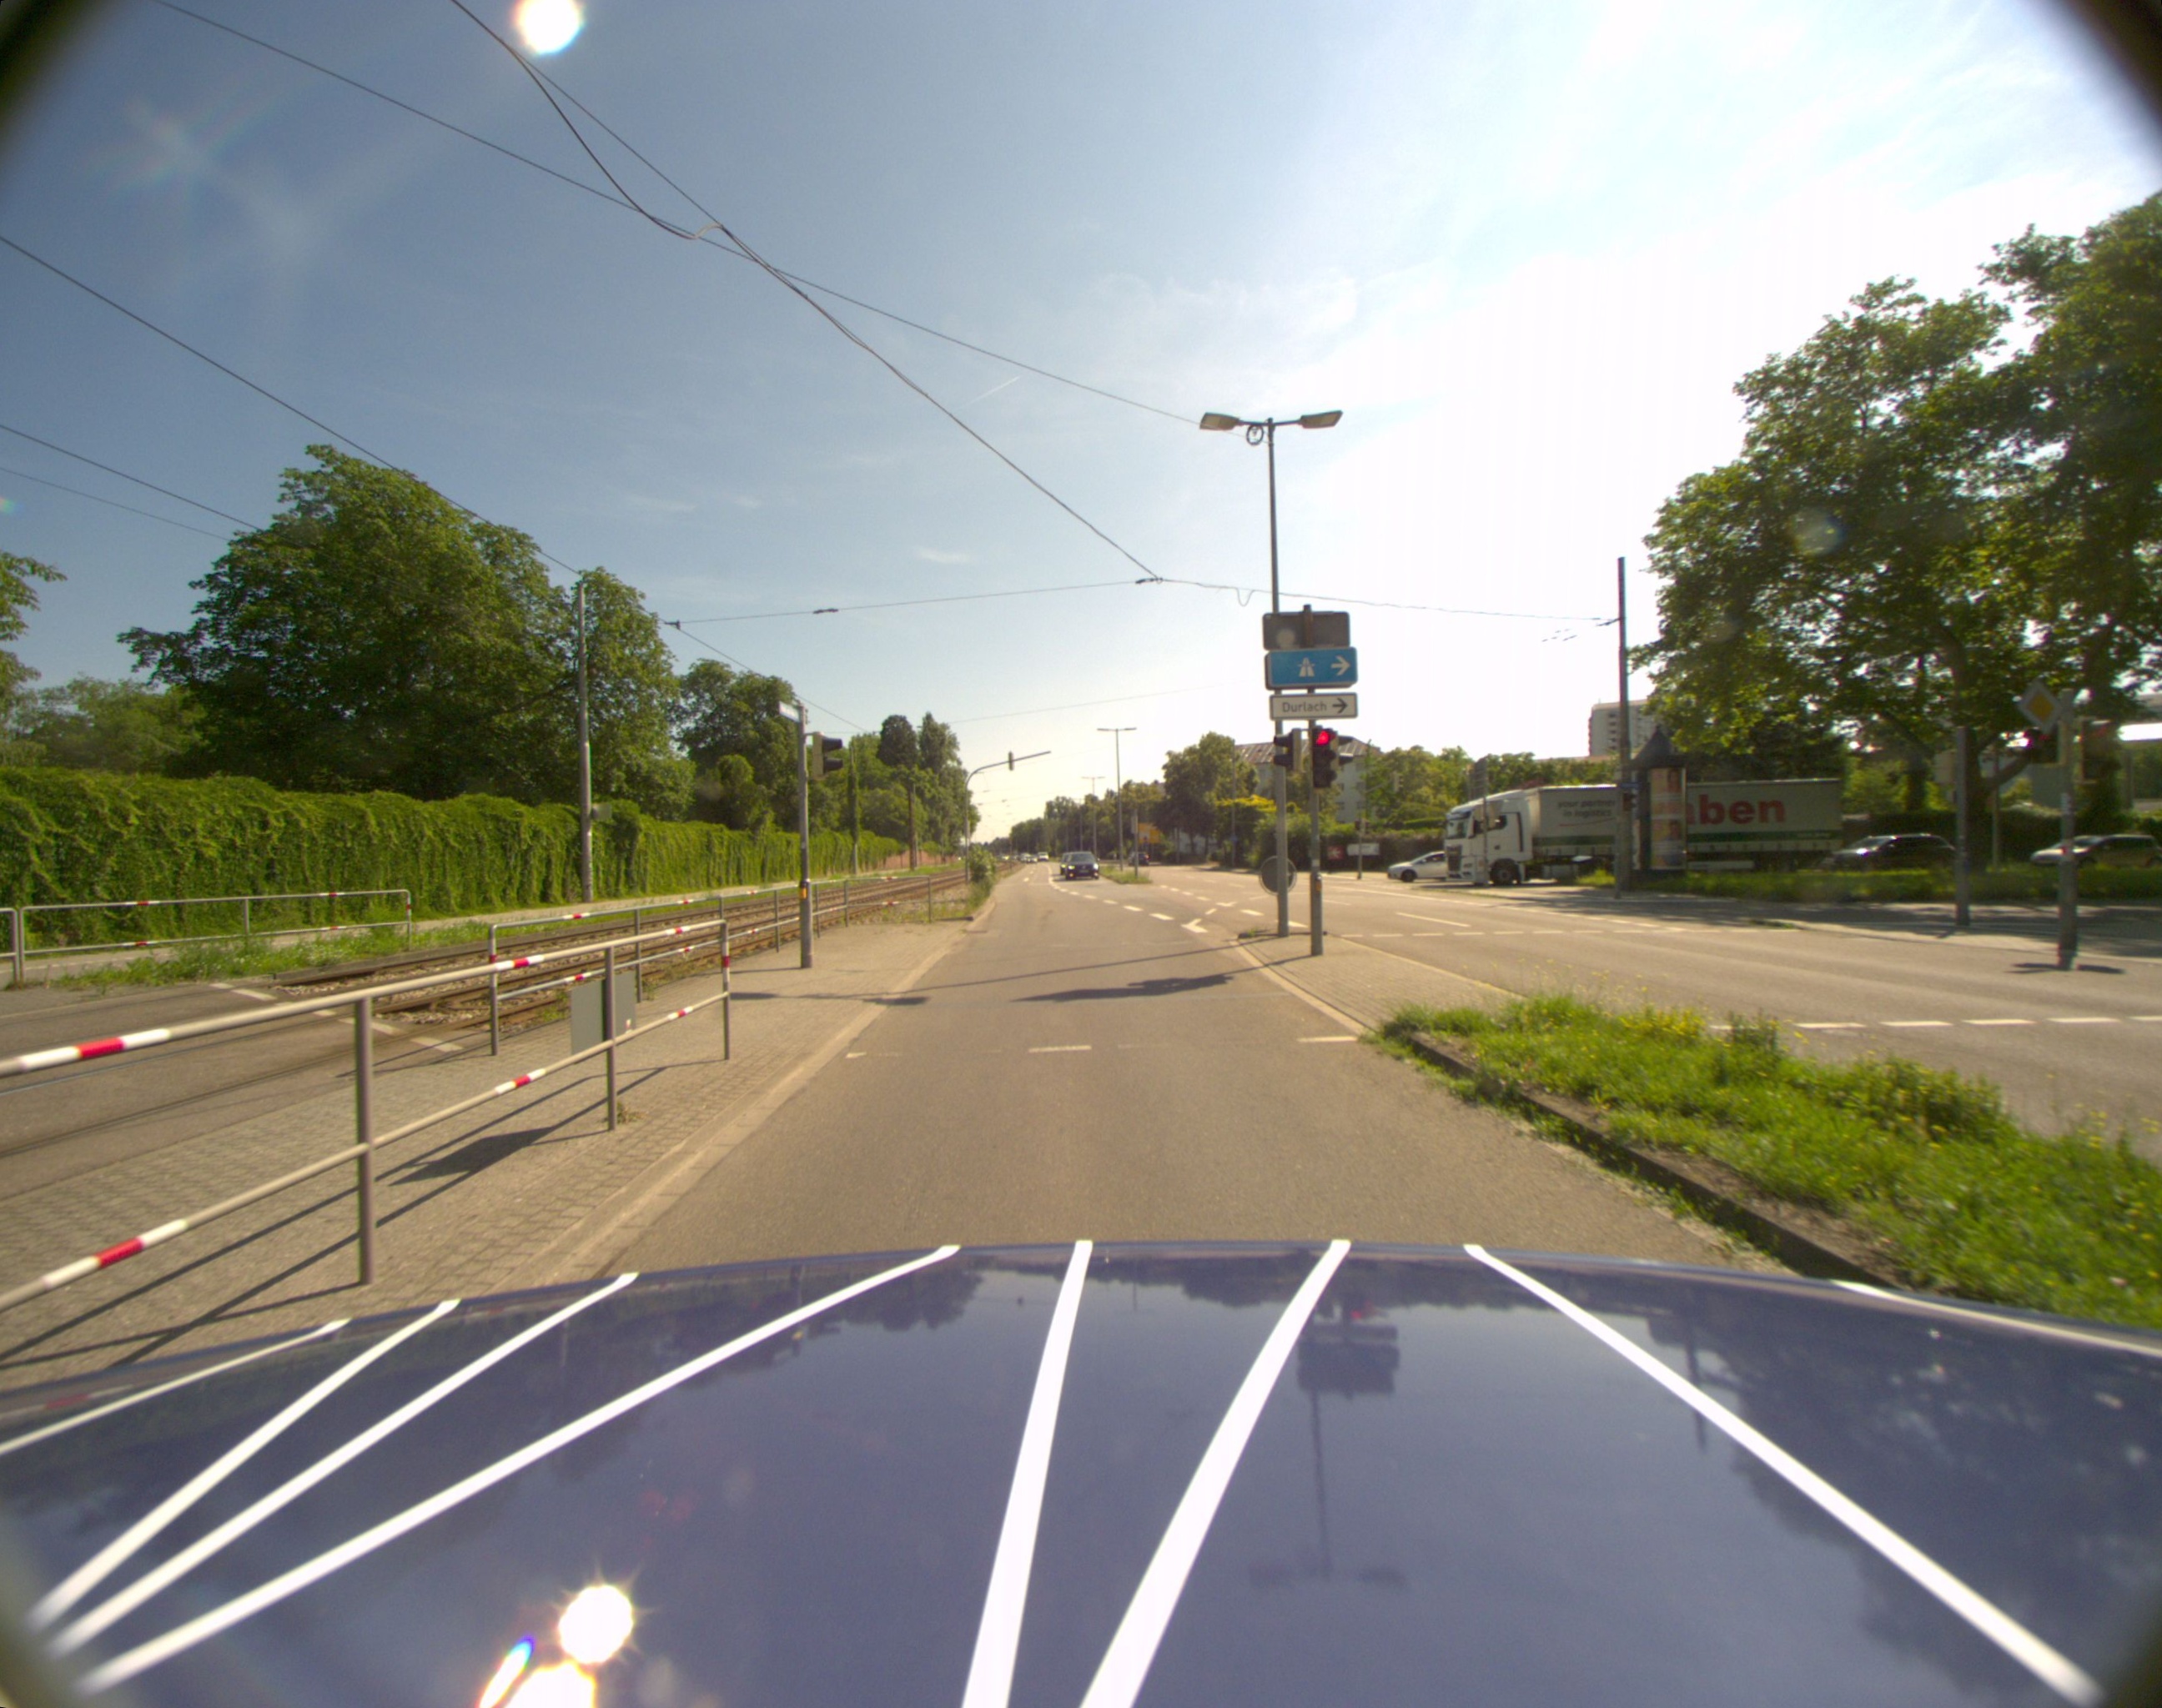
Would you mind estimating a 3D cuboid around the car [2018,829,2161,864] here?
[{"bbox_3d":[43.380,-0.313,32.348,4.366,1.360,1.757,-2,-1,7],"label":"car"}]

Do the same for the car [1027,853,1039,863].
[{"bbox_3d":[-8.235,0.719,129.535,1.931,1.593,4.466,-2,1,-4],"label":"car"}]

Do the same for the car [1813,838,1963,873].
[{"bbox_3d":[35.183,0.086,33.230,4.366,1.360,1.757,-2,-1,7],"label":"car"}]

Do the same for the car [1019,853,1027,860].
[{"bbox_3d":[-14.540,0.654,190.254,1.931,1.593,4.466,-2,1,-5],"label":"car"}]

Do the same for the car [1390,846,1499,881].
[{"bbox_3d":[16.963,0.463,35.640,4.388,1.501,1.759,-2,-1,18],"label":"car"}]

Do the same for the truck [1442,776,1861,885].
[{"bbox_3d":[22.562,-0.889,30.757,14.288,3.984,2.855,-1,1,4],"label":"truck"}]

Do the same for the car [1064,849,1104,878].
[{"bbox_3d":[0.098,0.526,43.812,1.756,1.573,4.502,-1,0,-7],"label":"car"}]

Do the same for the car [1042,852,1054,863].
[{"bbox_3d":[-7.000,0.704,160.843,2.265,2.336,5.228,-2,1,-4],"label":"car"}]

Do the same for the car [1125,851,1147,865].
[{"bbox_3d":[5.980,0.423,83.392,1.755,1.573,4.503,0,0,-4],"label":"car"}]

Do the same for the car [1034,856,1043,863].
[{"bbox_3d":[-10.017,1.274,179.808,1.931,1.593,4.466,-2,1,-5],"label":"car"}]

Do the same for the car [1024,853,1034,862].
[{"bbox_3d":[-10.082,0.731,147.066,1.931,1.593,4.466,-2,1,-5],"label":"car"}]

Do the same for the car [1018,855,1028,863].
[{"bbox_3d":[-12.282,1.031,160.608,1.931,1.593,4.466,-2,1,-5],"label":"car"}]

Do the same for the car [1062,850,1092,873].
[{"bbox_3d":[-0.327,0.513,55.239,1.756,1.573,4.503,-1,0,-5],"label":"car"}]
